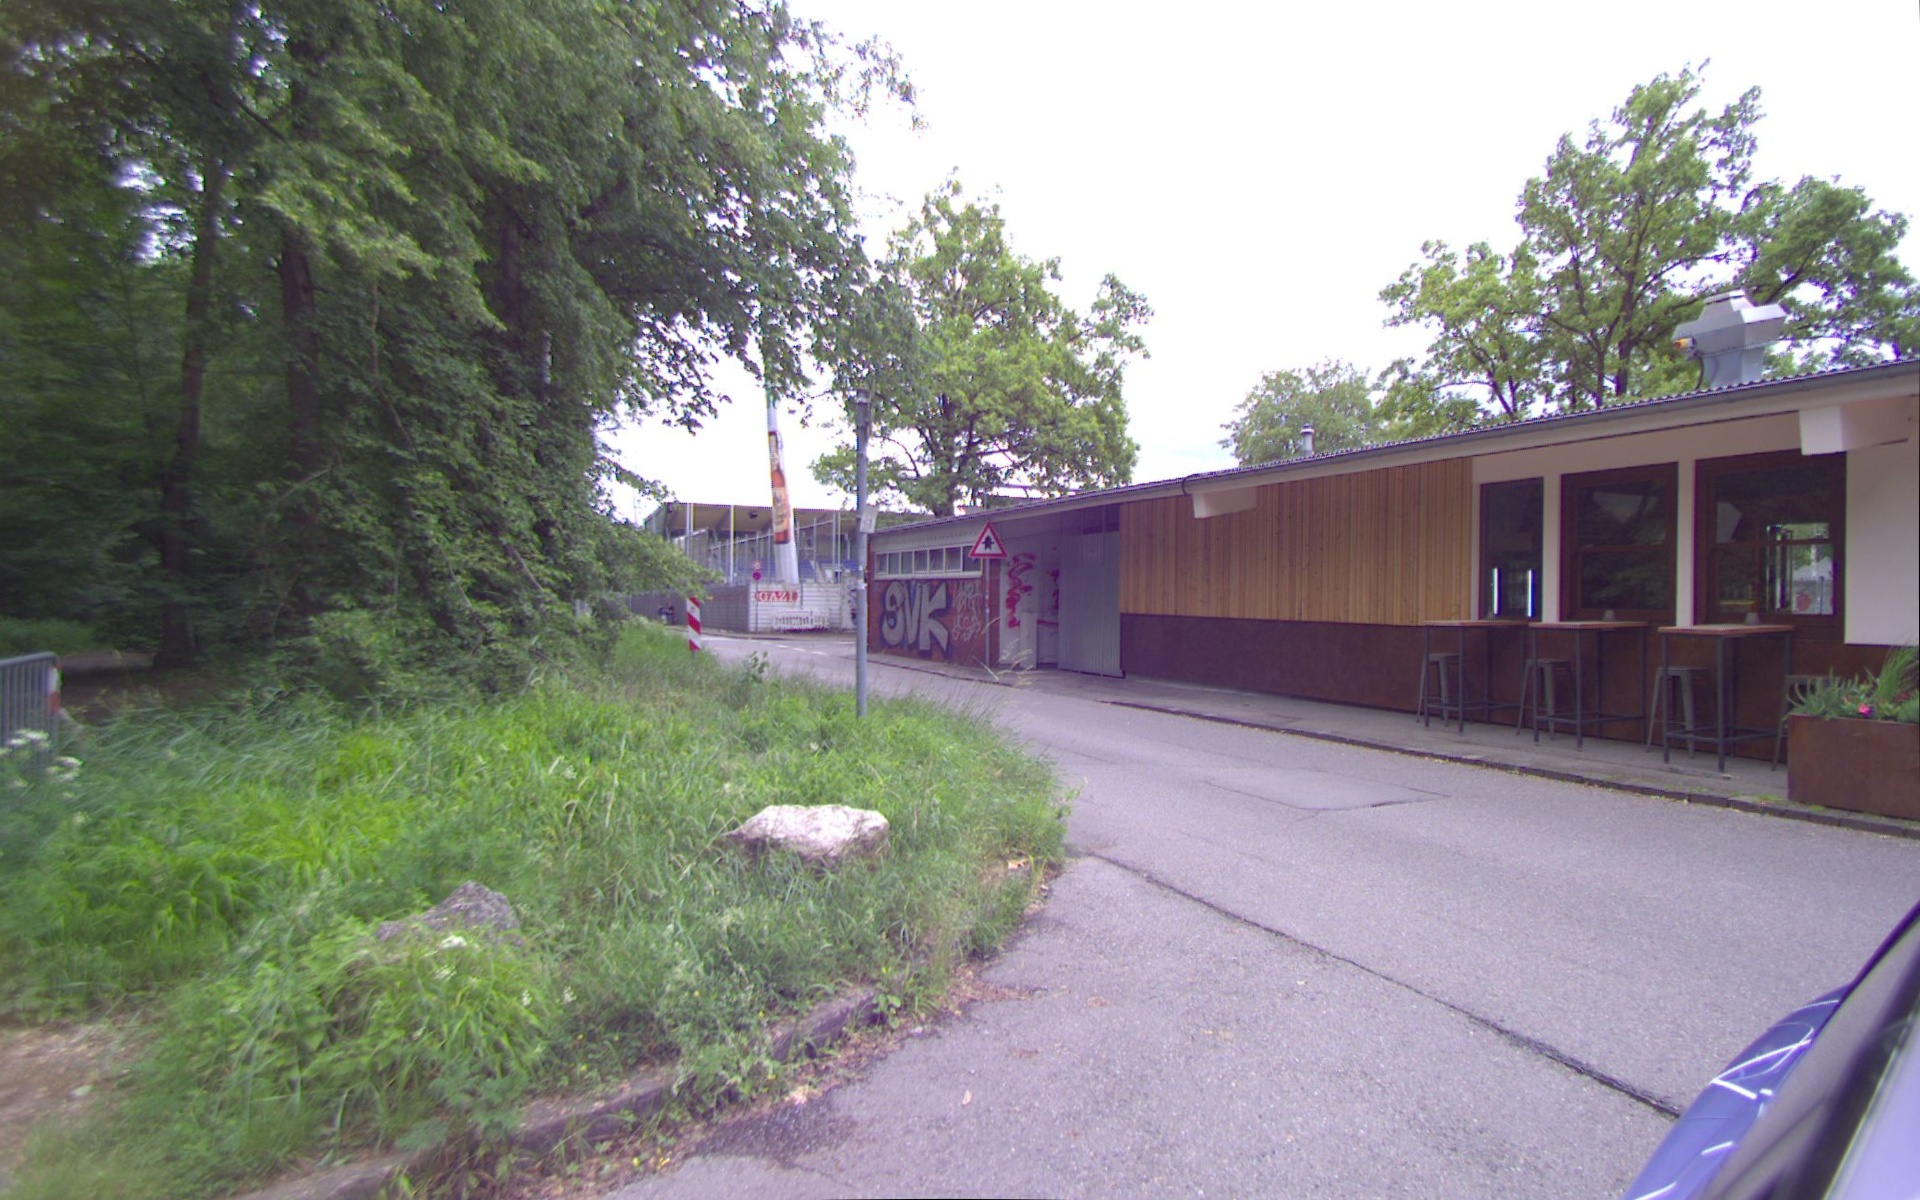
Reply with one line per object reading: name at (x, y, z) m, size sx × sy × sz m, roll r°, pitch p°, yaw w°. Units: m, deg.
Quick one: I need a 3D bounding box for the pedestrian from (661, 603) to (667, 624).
pedestrian at (-20.163, 0.913, 69.044) m, size 0.365 × 1.404 × 0.377 m, roll 0°, pitch -1°, yaw -20°

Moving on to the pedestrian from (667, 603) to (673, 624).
pedestrian at (-19.801, 0.907, 69.185) m, size 0.368 × 1.404 × 0.406 m, roll 0°, pitch -1°, yaw -20°
